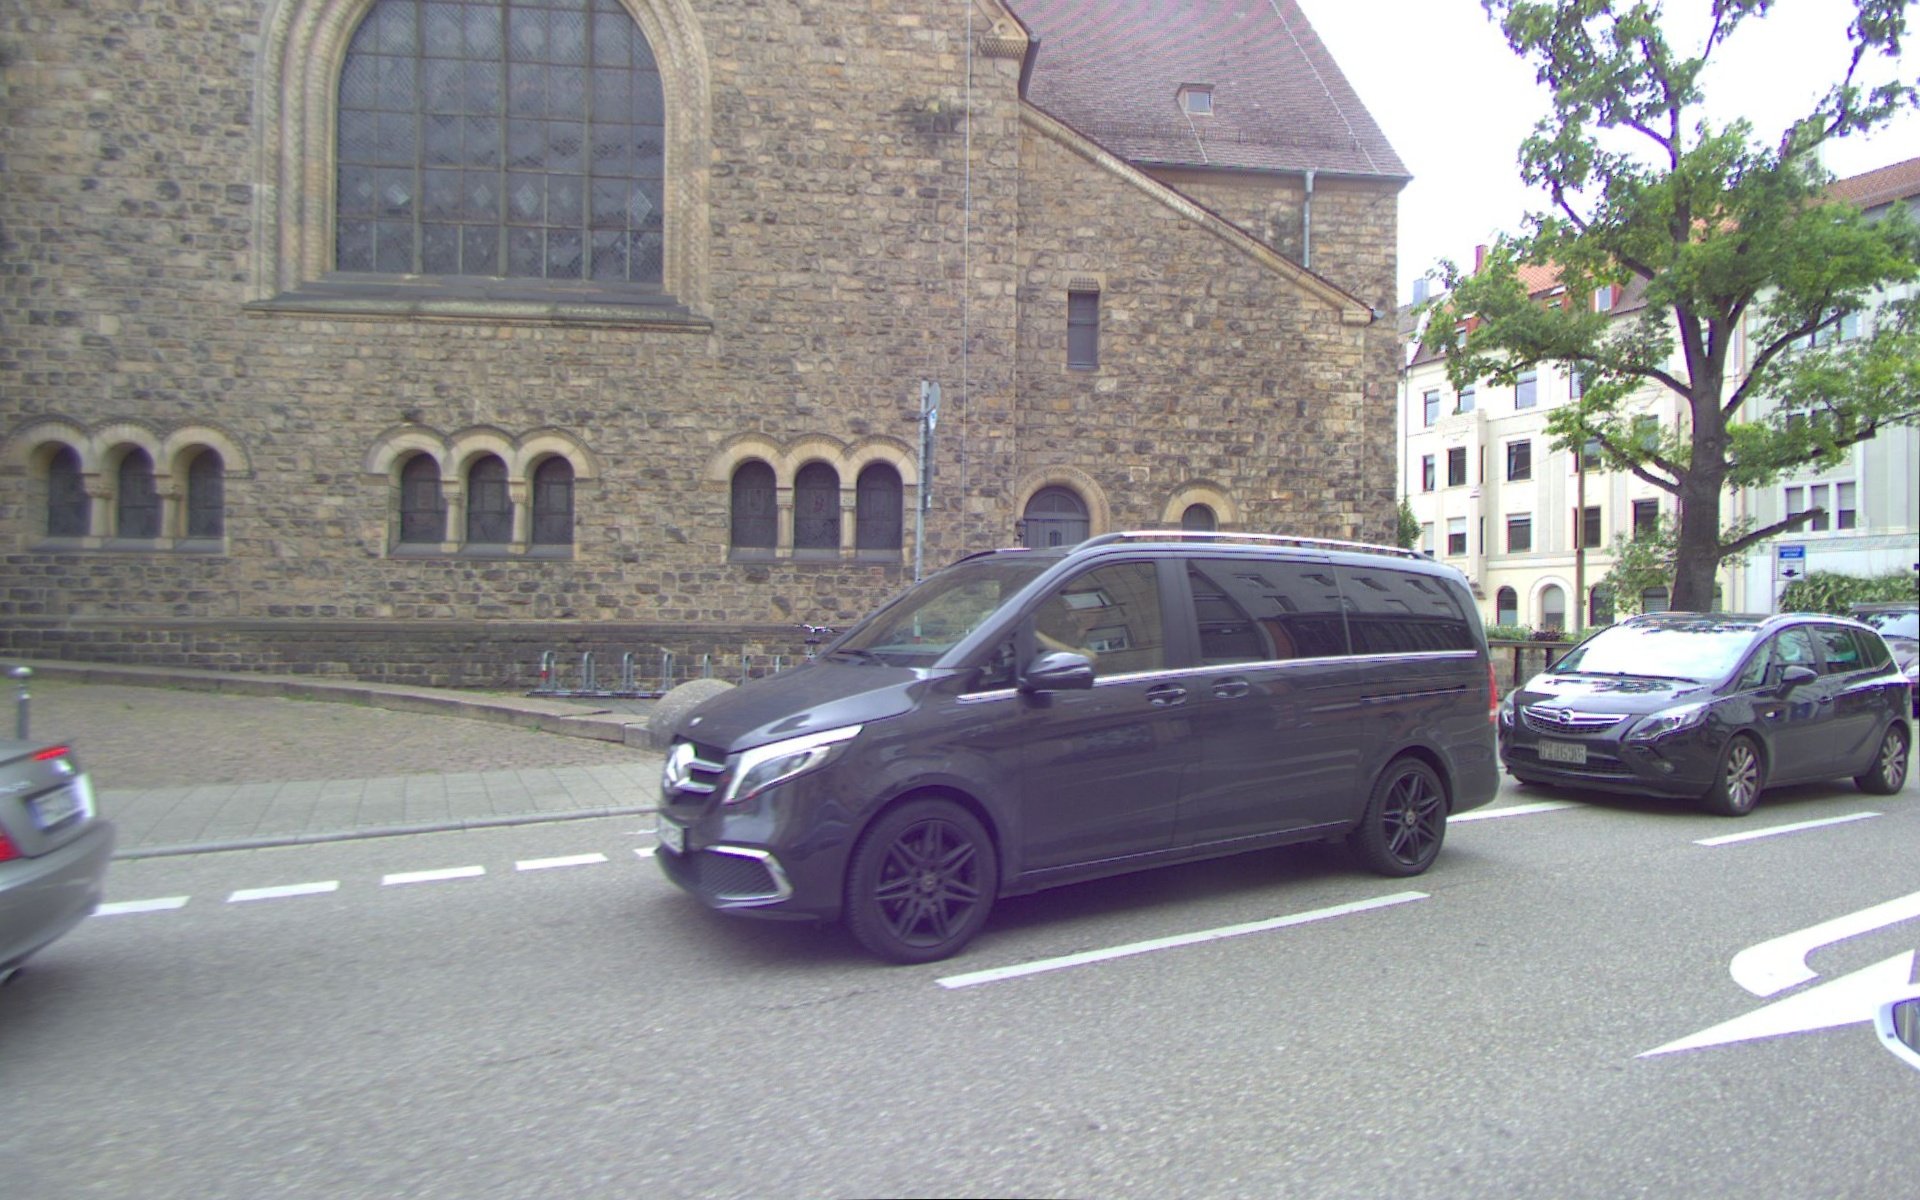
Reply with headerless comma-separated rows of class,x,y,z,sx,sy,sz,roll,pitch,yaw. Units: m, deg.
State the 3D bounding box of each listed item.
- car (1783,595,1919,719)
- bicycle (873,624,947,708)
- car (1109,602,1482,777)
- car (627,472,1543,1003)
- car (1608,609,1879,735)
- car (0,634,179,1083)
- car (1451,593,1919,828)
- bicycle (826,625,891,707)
car,17.578,0.992,18.562,5.122,2.040,2.004,1,-1,-30
bicycle,-0.788,0.978,15.343,0.729,1.182,1.778,1,-1,-16
car,3.586,0.888,10.625,3.727,1.528,1.639,3,0,-29
car,0.936,0.564,5.871,5.219,1.980,1.904,1,-1,-29
car,12.192,1.015,15.576,4.380,1.711,1.835,1,-1,-30
car,-4.871,0.734,2.774,3.992,1.303,1.698,2,-4,-29
car,6.744,0.847,9.195,4.493,1.706,1.837,1,-1,-29
bicycle,-1.551,0.959,15.120,0.650,1.145,1.778,1,-1,-16
